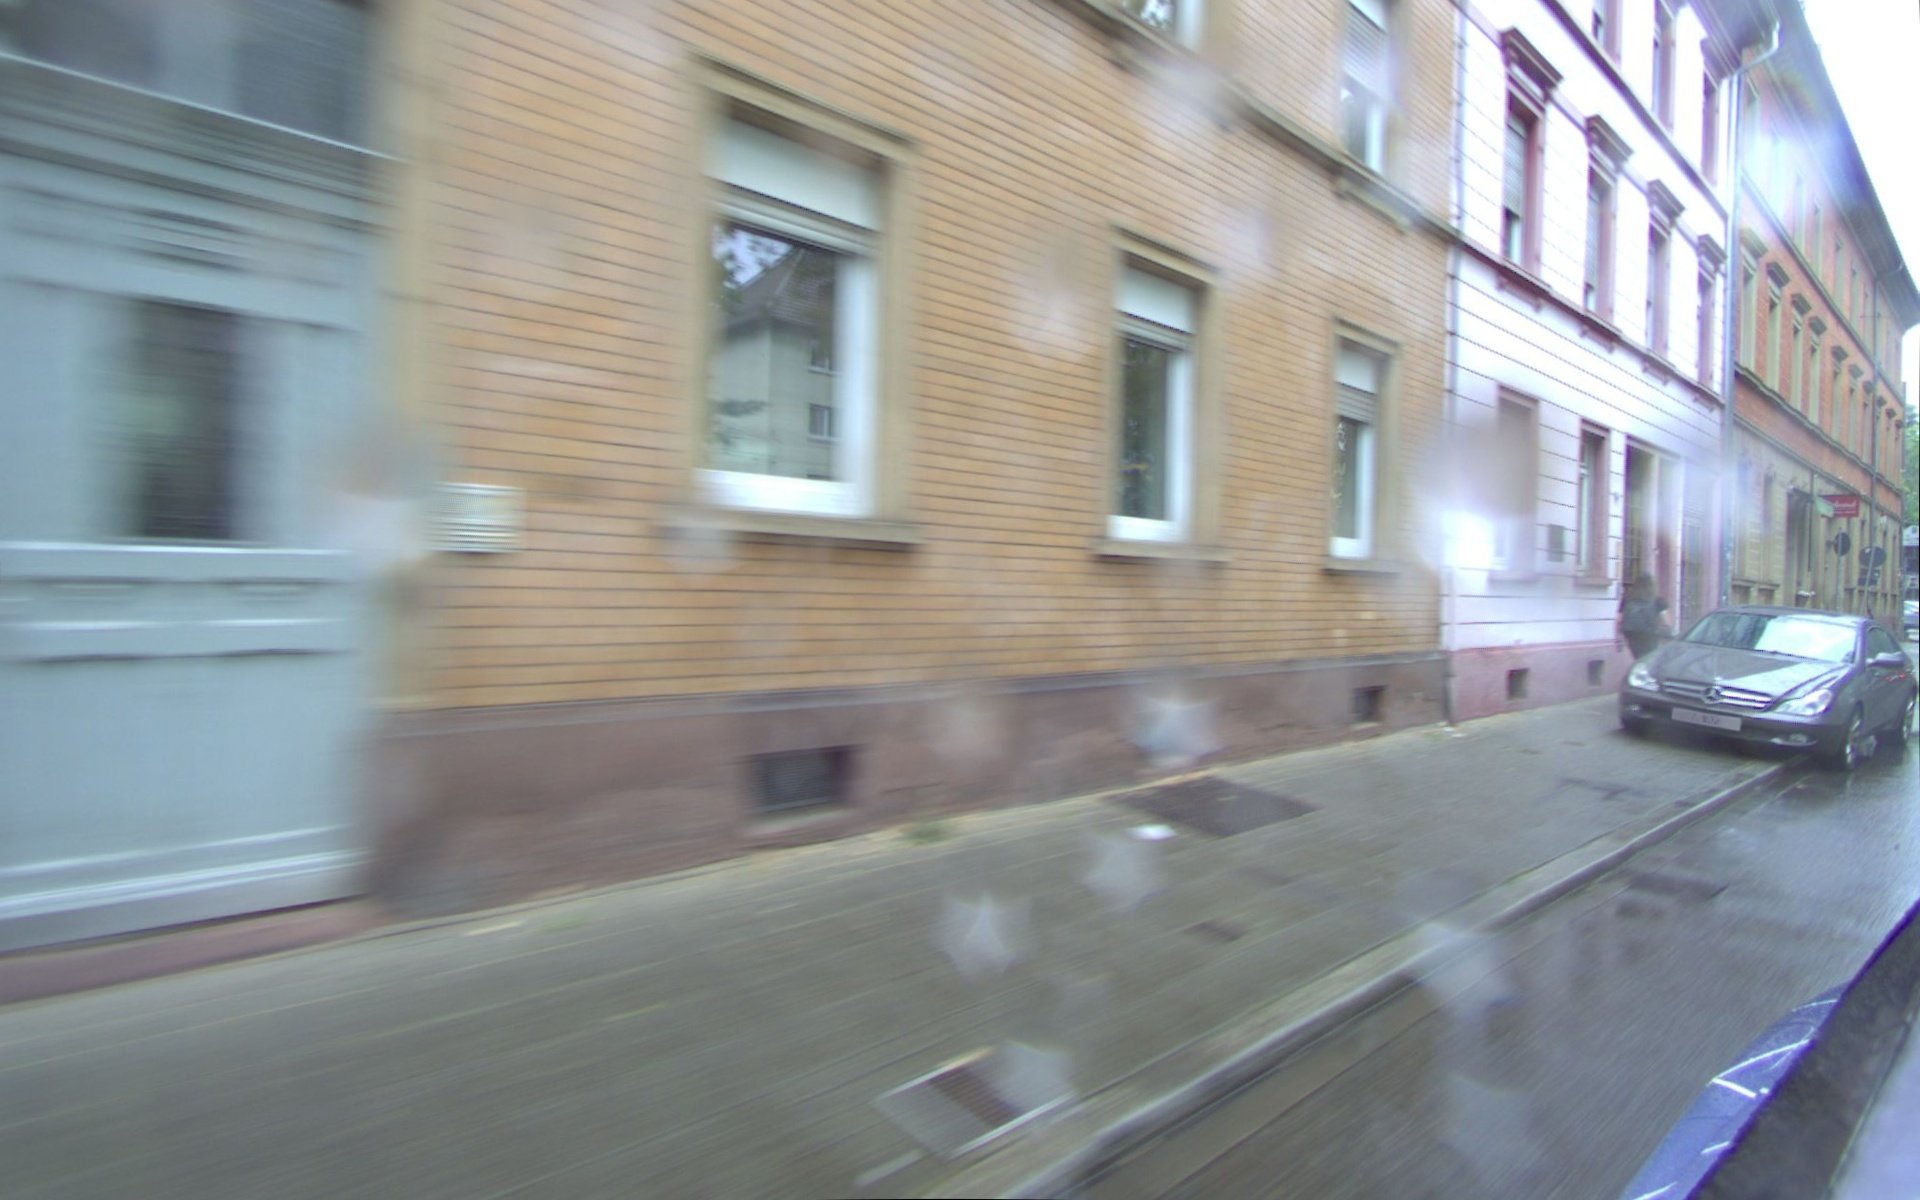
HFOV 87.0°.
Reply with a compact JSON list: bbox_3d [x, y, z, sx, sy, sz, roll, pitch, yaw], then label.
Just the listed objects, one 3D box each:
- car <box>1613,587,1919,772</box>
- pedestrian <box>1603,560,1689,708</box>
[{"bbox_3d":[8.807,0.667,10.674,4.612,1.437,1.819,0,4,-39],"label":"car"},{"bbox_3d":[8.255,0.389,12.184,0.593,1.705,0.640,1,3,-42],"label":"pedestrian"}]
